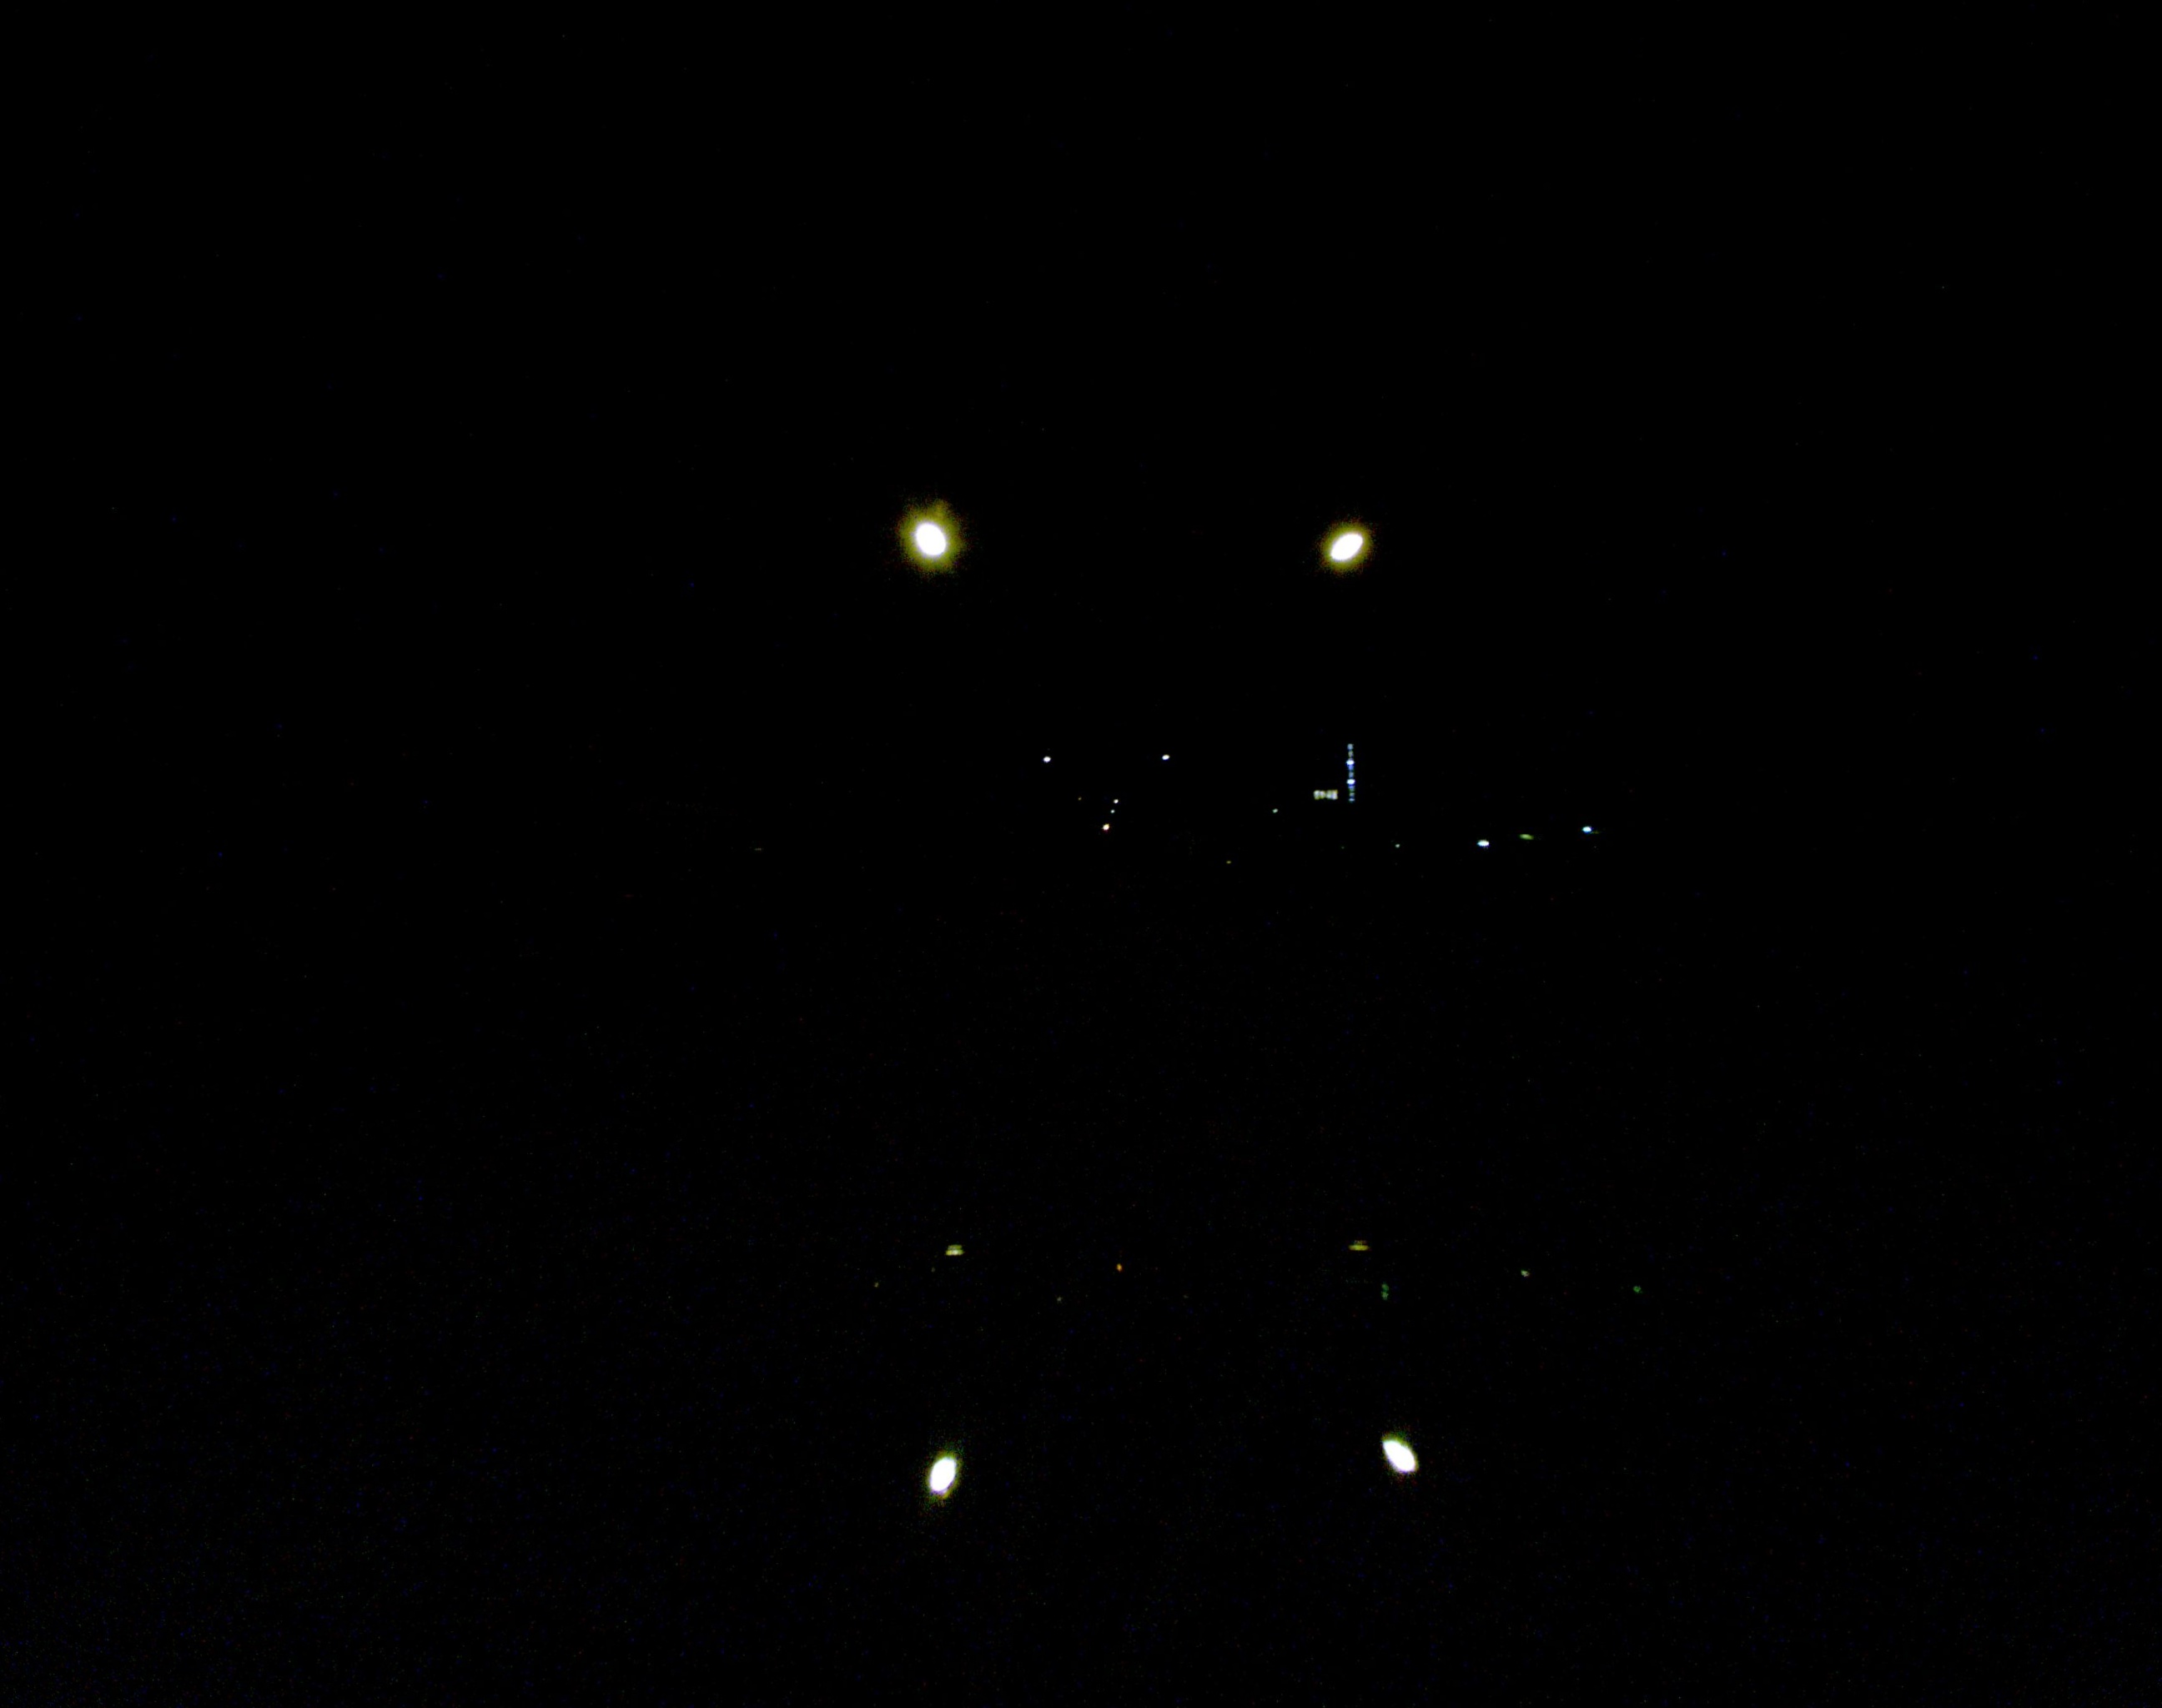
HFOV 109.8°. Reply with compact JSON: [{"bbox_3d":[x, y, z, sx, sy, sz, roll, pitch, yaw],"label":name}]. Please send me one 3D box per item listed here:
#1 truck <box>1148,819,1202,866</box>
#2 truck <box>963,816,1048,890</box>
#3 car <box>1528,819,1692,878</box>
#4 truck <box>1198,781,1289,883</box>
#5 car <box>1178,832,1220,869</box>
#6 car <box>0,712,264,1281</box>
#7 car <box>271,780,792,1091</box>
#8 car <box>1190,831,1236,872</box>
[{"bbox_3d":[8.054,-0.954,66.416,2.829,3.610,10.398,-3,0,-2],"label":"truck"},{"bbox_3d":[-4.273,-0.092,46.729,2.515,3.815,12.662,-3,0,6],"label":"truck"},{"bbox_3d":[17.150,-0.185,24.767,3.997,1.455,1.806,-6,1,-1],"label":"car"},{"bbox_3d":[7.798,-1.057,38.279,2.644,4.290,12.824,0,1,4],"label":"truck"},{"bbox_3d":[8.541,-0.258,55.433,1.999,2.429,5.744,-3,0,0],"label":"car"},{"bbox_3d":[-5.904,0.689,1.099,1.945,2.533,6.646,-3,0,2],"label":"car"},{"bbox_3d":[-5.788,0.677,9.441,1.999,2.533,6.024,-3,0,-1],"label":"car"},{"bbox_3d":[8.146,-0.171,47.286,2.145,2.299,4.468,-3,0,3],"label":"car"}]
